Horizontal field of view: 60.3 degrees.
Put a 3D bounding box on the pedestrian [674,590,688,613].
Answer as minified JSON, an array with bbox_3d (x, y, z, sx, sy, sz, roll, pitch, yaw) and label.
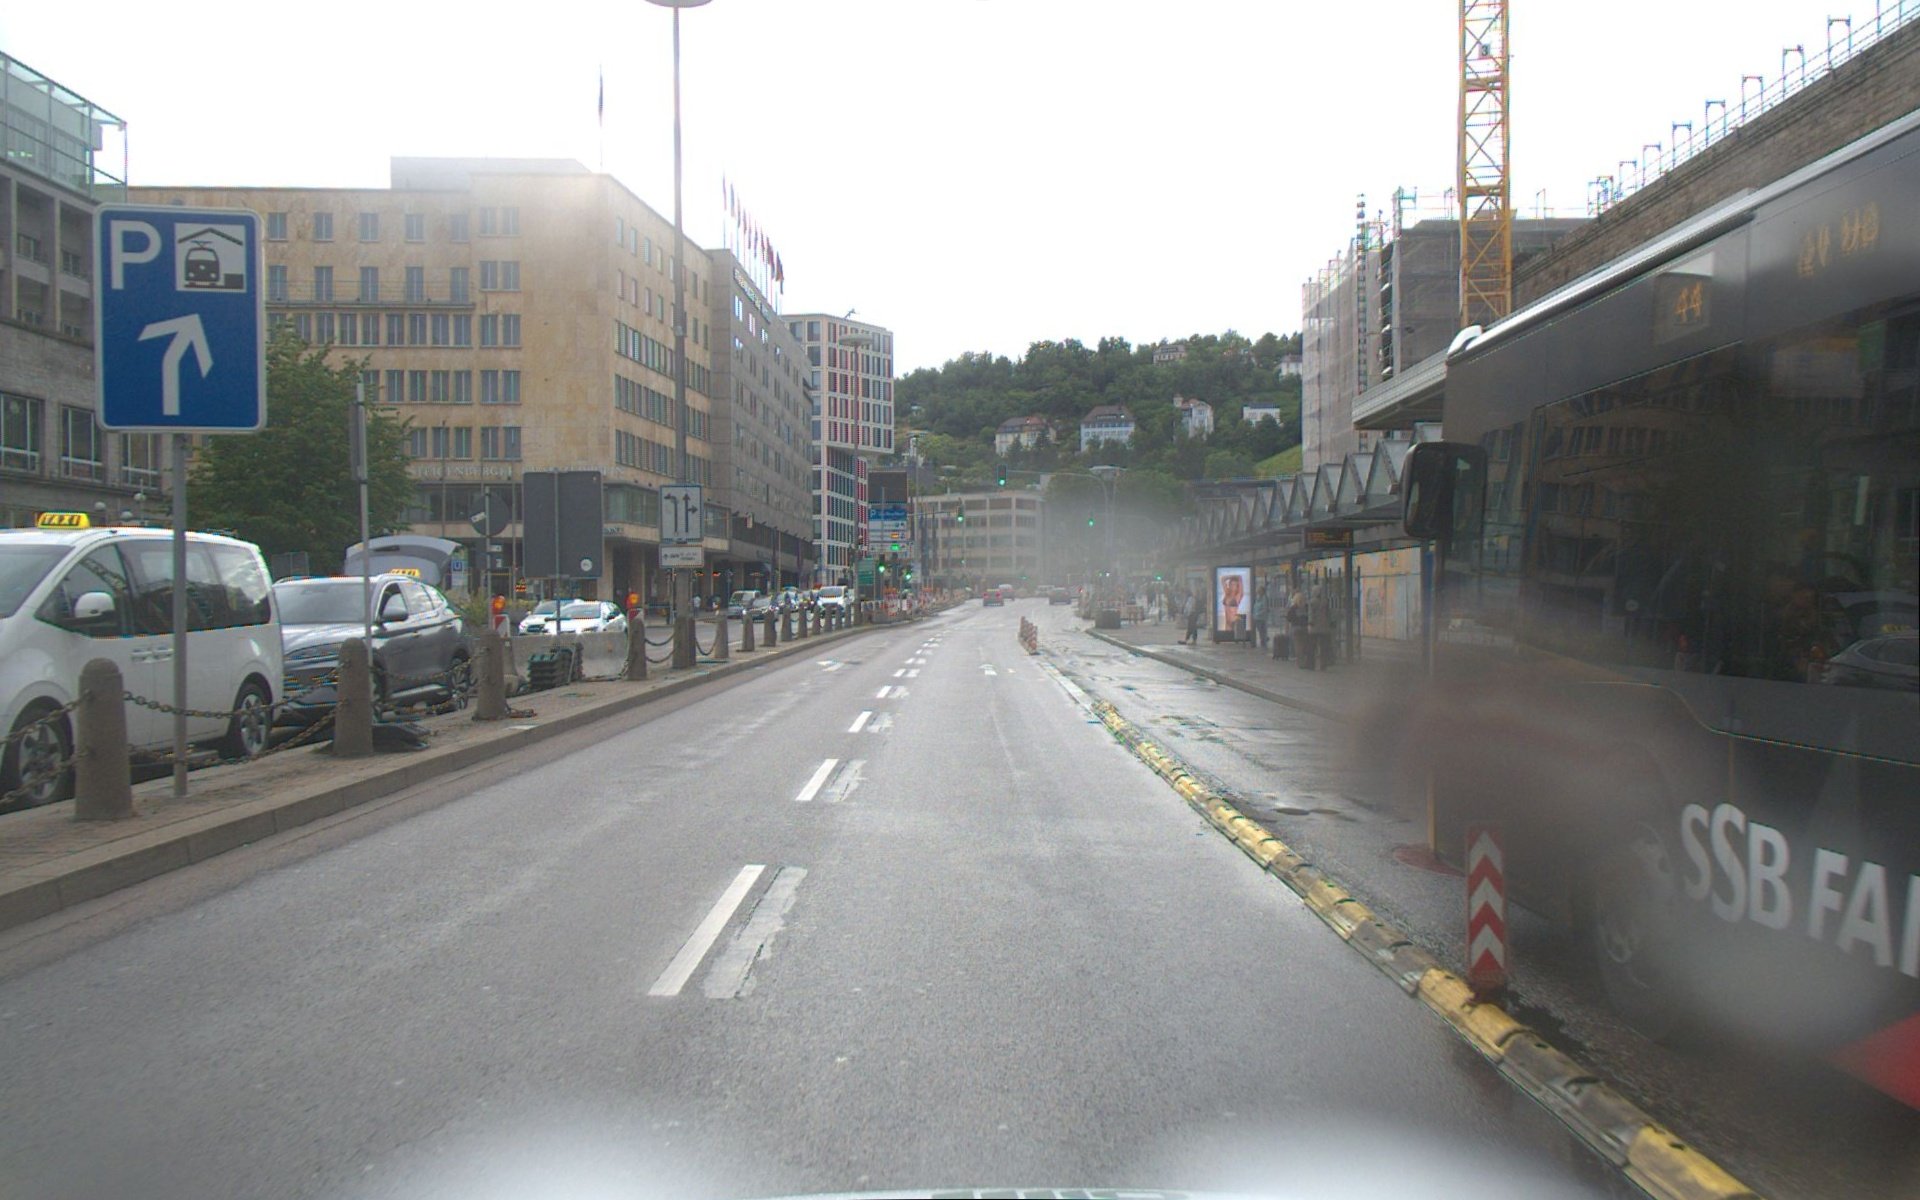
[{"bbox_3d":[-18.934,0.097,112.291,0.706,1.585,0.906,0,0,4],"label":"pedestrian"}]

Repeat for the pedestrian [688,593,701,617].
[{"bbox_3d":[-18.025,0.347,112.230,0.706,1.585,0.895,0,0,4],"label":"pedestrian"}]

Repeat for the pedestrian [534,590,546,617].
[{"bbox_3d":[-26.254,0.226,103.439,0.684,1.673,0.647,0,0,-17],"label":"pedestrian"}]

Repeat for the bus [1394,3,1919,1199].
[{"bbox_3d":[3.704,0.108,4.271,2.699,3.119,8.992,1,0,0],"label":"bus"}]

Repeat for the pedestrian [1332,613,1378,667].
[{"bbox_3d":[9.602,0.970,40.276,0.894,1.252,0.841,2,0,0],"label":"pedestrian"}]

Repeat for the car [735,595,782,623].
[{"bbox_3d":[-12.083,0.526,99.434,1.952,1.645,4.979,0,0,3],"label":"car"}]

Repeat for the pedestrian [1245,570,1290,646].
[{"bbox_3d":[8.577,0.218,46.085,0.797,2.086,0.913,1,0,-40],"label":"pedestrian"}]

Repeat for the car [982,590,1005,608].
[{"bbox_3d":[2.972,-0.067,147.465,1.953,1.579,4.000,0,0,0],"label":"car"}]

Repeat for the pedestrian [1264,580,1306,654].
[{"bbox_3d":[7.545,0.388,38.392,0.791,1.689,0.804,1,0,0],"label":"pedestrian"}]

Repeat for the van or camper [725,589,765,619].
[{"bbox_3d":[-14.993,0.287,115.670,1.952,2.049,4.966,0,0,2],"label":"van or camper"}]

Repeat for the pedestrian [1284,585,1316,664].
[{"bbox_3d":[6.958,0.499,33.884,0.510,1.593,0.729,0,0,0],"label":"pedestrian"}]

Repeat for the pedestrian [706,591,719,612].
[{"bbox_3d":[-18.479,0.085,123.665,0.778,1.553,0.917,0,0,4],"label":"pedestrian"}]

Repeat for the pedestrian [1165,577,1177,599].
[{"bbox_3d":[18.217,-1.024,142.797,0.926,1.873,0.868,0,0,8],"label":"pedestrian"}]

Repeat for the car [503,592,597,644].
[{"bbox_3d":[-13.659,0.560,55.412,1.922,1.591,4.835,-2,1,-1],"label":"car"}]

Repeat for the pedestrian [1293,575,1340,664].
[{"bbox_3d":[7.011,0.377,32.587,0.747,1.723,0.822,0,0,0],"label":"pedestrian"}]

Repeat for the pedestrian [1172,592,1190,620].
[{"bbox_3d":[12.690,0.341,94.868,0.780,1.636,0.834,-1,-1,31],"label":"pedestrian"}]

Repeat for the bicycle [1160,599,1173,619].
[{"bbox_3d":[11.482,0.504,91.900,0.692,1.068,1.808,1,1,7],"label":"bicycle"}]

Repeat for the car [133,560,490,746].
[{"bbox_3d":[-6.810,0.496,18.024,1.952,1.752,4.782,0,0,1],"label":"car"}]

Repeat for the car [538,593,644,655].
[{"bbox_3d":[-10.442,0.642,47.155,1.922,1.591,4.835,-2,1,-1],"label":"car"}]

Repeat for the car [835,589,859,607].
[{"bbox_3d":[-10.512,-0.168,154.378,1.731,1.637,4.227,0,0,2],"label":"car"}]

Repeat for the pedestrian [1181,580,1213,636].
[{"bbox_3d":[7.242,0.234,50.496,0.693,1.709,0.717,0,0,-26],"label":"pedestrian"}]

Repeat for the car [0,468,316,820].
[{"bbox_3d":[-7.002,0.273,12.662,1.952,2.217,5.544,0,0,0],"label":"car"}]

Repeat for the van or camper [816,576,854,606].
[{"bbox_3d":[-8.471,-0.589,112.894,1.952,2.049,5.191,0,0,3],"label":"van or camper"}]

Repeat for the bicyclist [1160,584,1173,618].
[{"bbox_3d":[11.482,0.049,91.855,0.688,1.877,0.968,1,0,7],"label":"bicyclist"}]

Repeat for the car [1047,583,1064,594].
[{"bbox_3d":[12.775,-1.566,221.150,1.952,1.467,4.000,2,0,1],"label":"car"}]

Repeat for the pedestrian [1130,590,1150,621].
[{"bbox_3d":[9.619,0.304,88.363,0.780,1.636,0.834,-1,-1,31],"label":"pedestrian"}]

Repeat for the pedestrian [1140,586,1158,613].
[{"bbox_3d":[13.150,-0.032,115.076,0.929,1.873,0.944,-1,-1,32],"label":"pedestrian"}]

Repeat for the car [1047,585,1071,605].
[{"bbox_3d":[8.707,-0.410,145.602,1.952,1.736,4.000,0,0,1],"label":"car"}]

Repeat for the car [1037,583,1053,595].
[{"bbox_3d":[10.462,-1.365,202.885,1.782,1.467,4.001,2,0,1],"label":"car"}]
